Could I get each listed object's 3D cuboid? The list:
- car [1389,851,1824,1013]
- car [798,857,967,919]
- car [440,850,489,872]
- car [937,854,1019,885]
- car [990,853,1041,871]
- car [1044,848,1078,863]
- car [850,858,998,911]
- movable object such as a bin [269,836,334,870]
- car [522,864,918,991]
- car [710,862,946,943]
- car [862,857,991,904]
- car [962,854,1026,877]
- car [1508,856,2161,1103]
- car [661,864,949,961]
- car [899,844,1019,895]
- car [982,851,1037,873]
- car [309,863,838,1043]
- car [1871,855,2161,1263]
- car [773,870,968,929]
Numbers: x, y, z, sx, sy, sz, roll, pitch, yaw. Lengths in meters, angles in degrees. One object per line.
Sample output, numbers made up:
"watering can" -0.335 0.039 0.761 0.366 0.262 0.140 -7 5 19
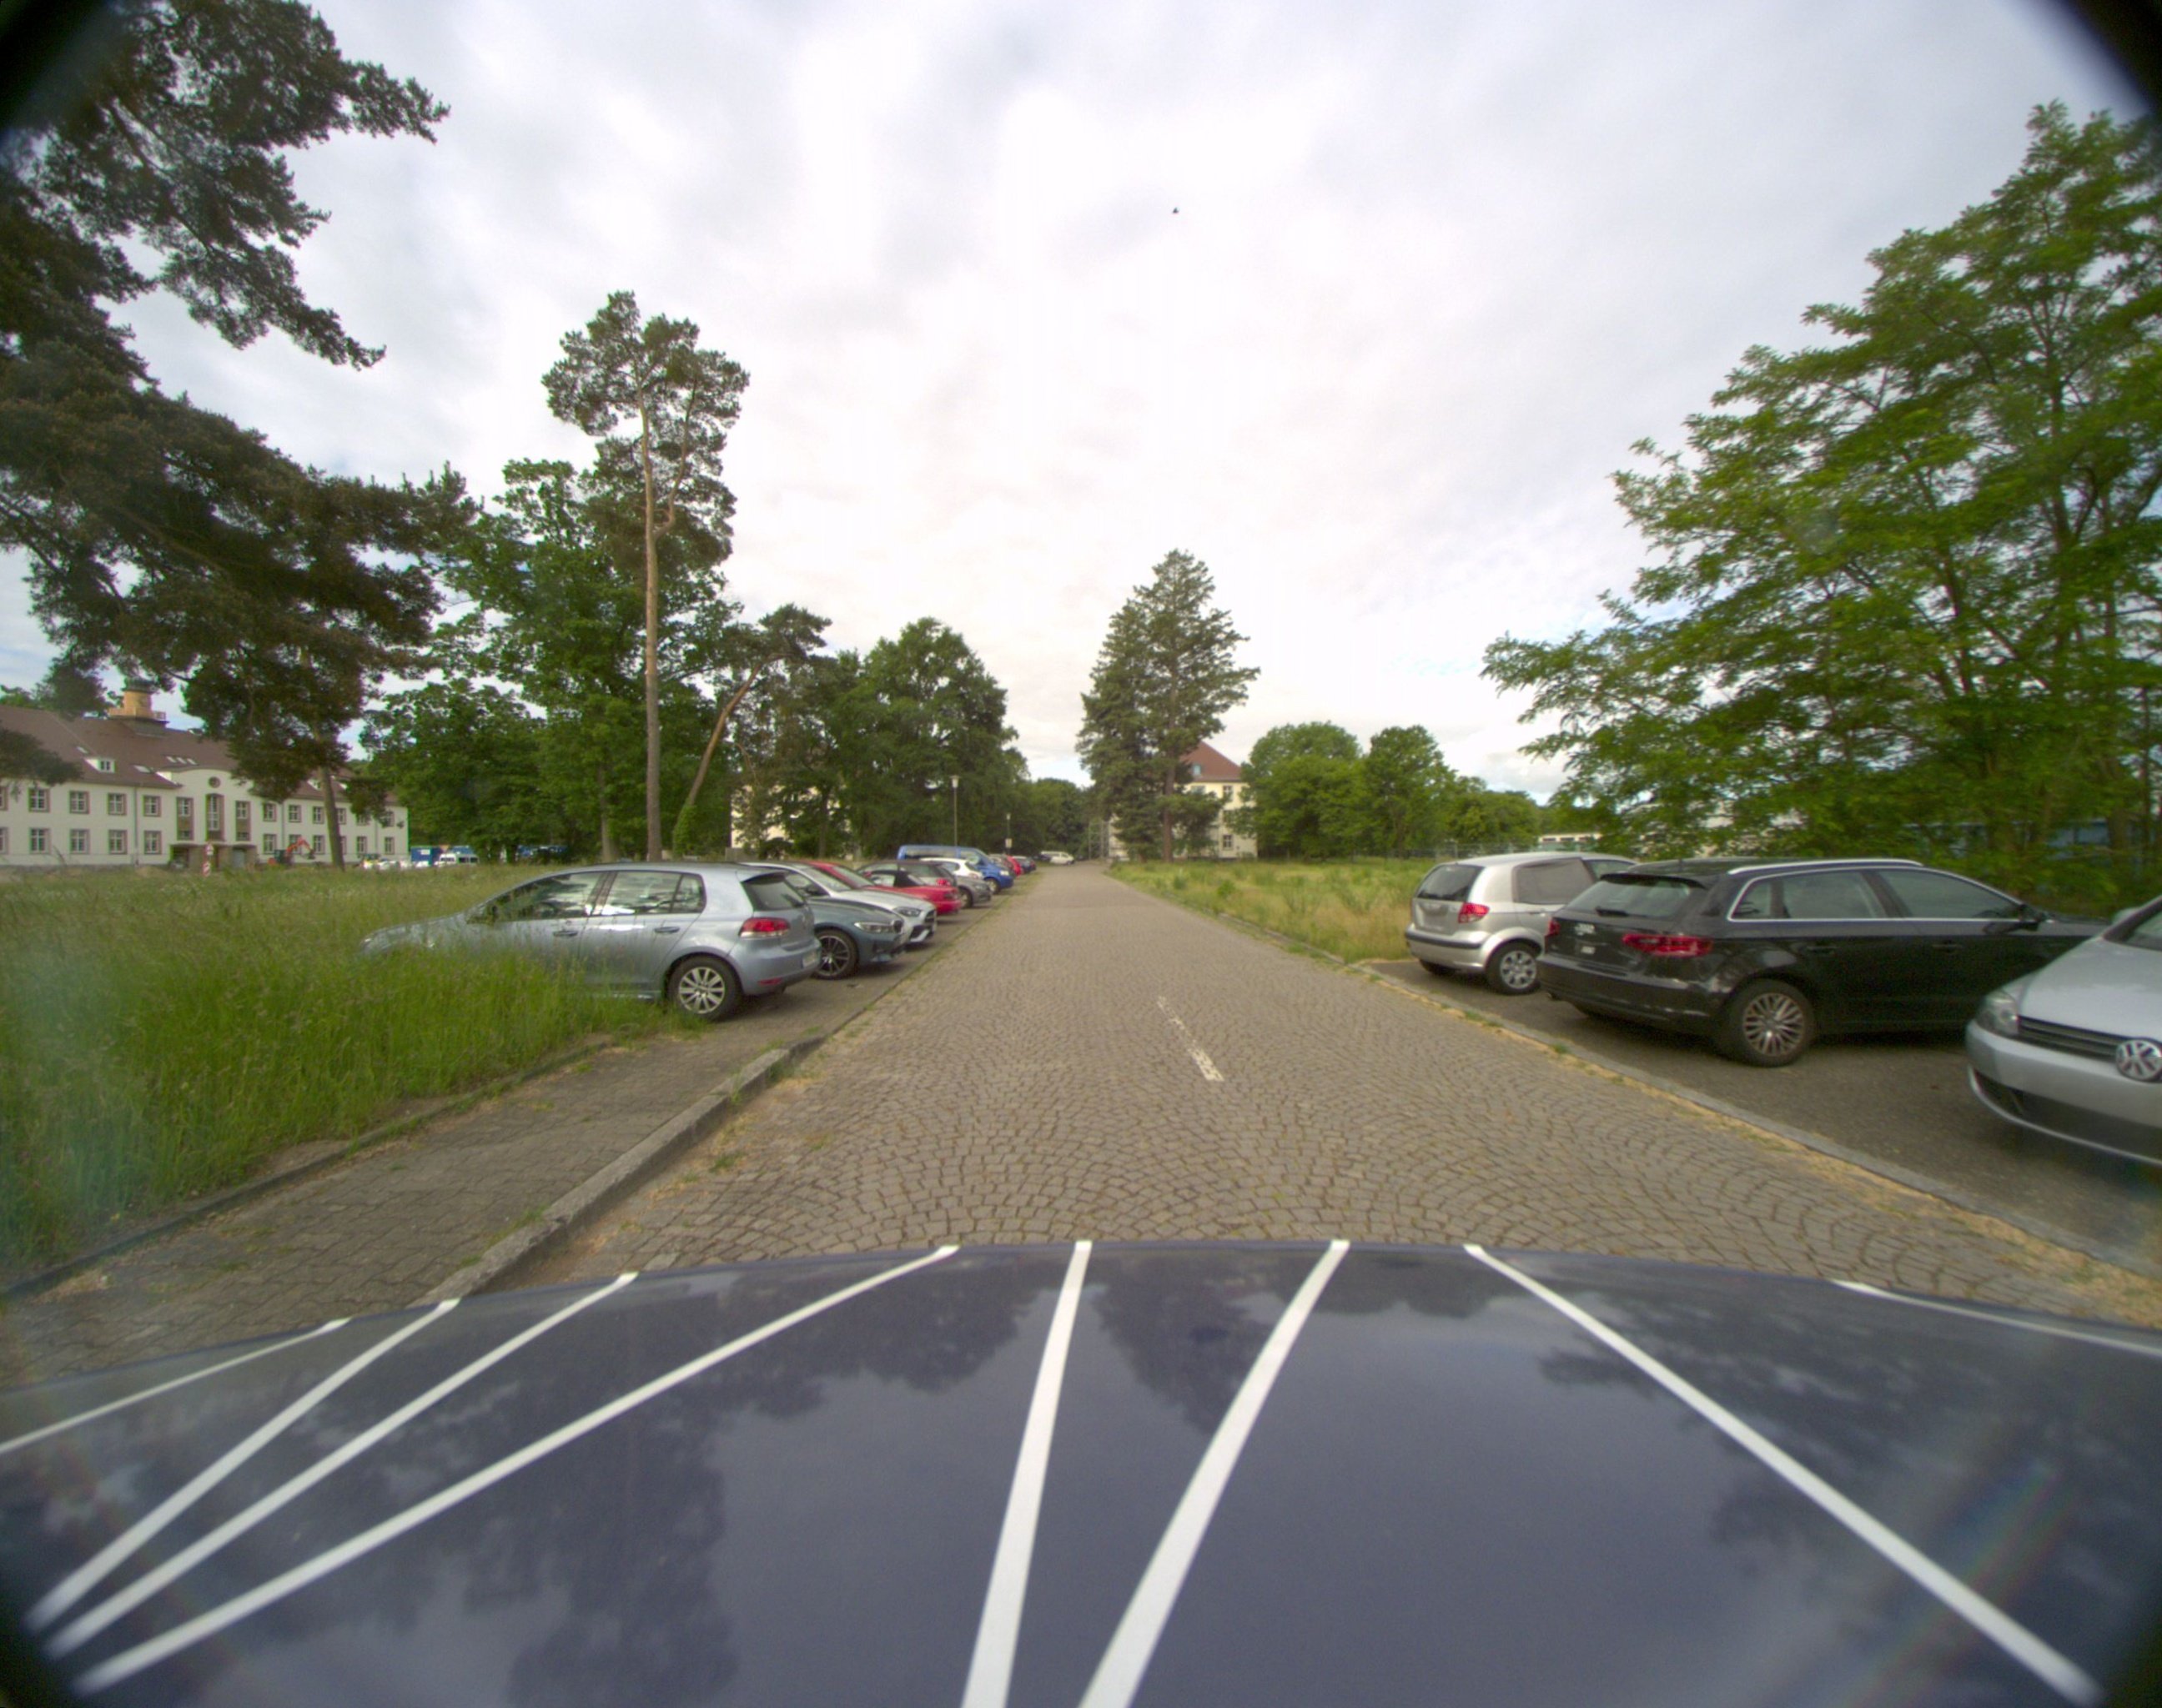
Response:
"car" 5.853 0.795 8.721 3.961 1.462 1.584 -3 1 -4
"car" -5.205 0.872 20.217 4.050 1.507 1.600 1 0 1
"car" -70.004 0.730 86.370 1.862 2.351 4.446 -1 1 -1
"car" -5.402 0.800 40.278 4.083 1.584 1.654 1 0 1
"car" -5.608 0.667 65.629 4.092 1.524 1.727 1 0 6
"car" -3.021 0.204 114.354 5.150 2.137 1.774 1 0 -4
"car" -4.686 0.893 23.054 4.097 1.507 1.700 1 0 1
"movable object such as a bin" -90.341 -0.162 88.124 5.458 3.748 2.053 -1 1 3
"car" -4.585 0.922 10.153 4.440 1.375 1.663 2 0 -3
"car" -4.983 0.939 15.368 4.184 1.473 1.717 1 0 -1
"car" -5.224 0.881 25.965 4.050 1.507 1.600 1 0 1
"car" -5.770 0.763 50.667 4.084 1.436 1.726 1 0 1
"car" 6.102 0.843 6.052 4.447 1.416 1.721 -3 1 -3
"car" -4.532 0.934 12.900 4.247 1.465 1.717 1 0 1
"car" -4.967 0.619 31.383 4.602 1.994 1.912 1 1 1
"car" -5.719 0.601 60.936 4.082 1.685 1.727 1 0 6
"car" -4.704 0.892 7.522 4.012 1.420 1.697 2 0 -3
"car" 6.539 0.795 3.419 4.376 1.588 1.871 -2 1 -7
"car" -4.762 1.024 17.560 4.051 1.233 1.549 1 0 -1
